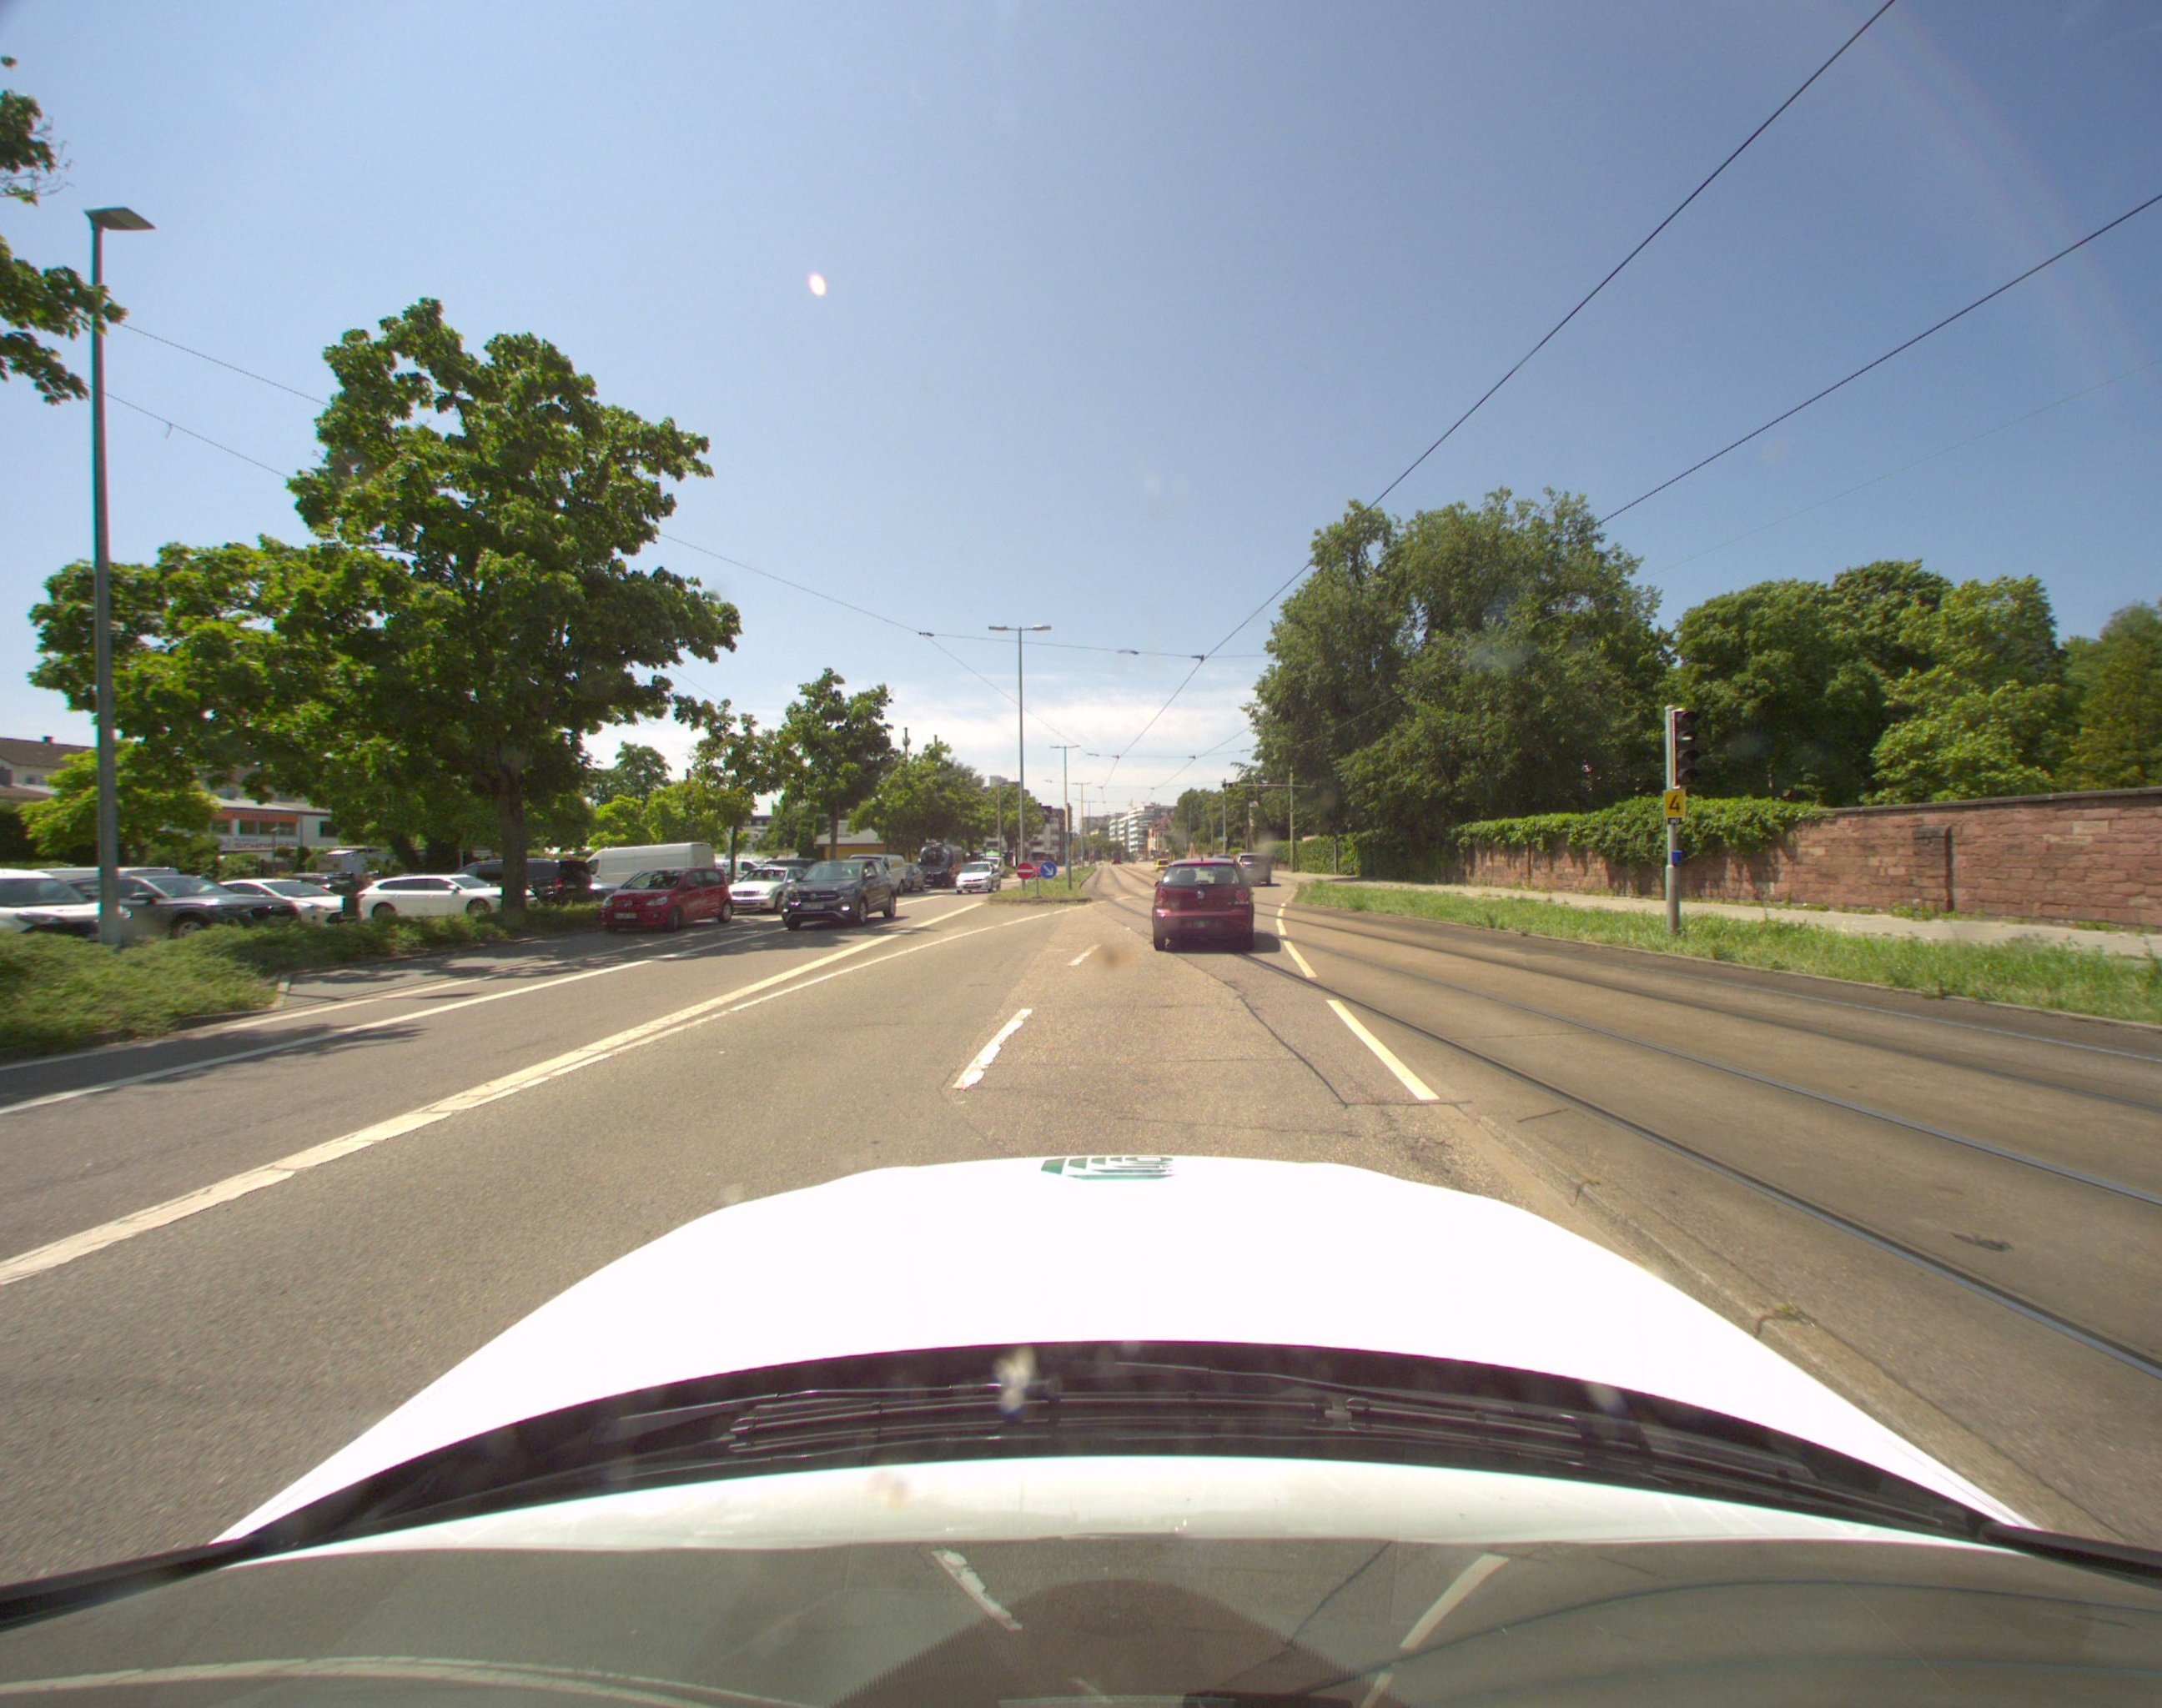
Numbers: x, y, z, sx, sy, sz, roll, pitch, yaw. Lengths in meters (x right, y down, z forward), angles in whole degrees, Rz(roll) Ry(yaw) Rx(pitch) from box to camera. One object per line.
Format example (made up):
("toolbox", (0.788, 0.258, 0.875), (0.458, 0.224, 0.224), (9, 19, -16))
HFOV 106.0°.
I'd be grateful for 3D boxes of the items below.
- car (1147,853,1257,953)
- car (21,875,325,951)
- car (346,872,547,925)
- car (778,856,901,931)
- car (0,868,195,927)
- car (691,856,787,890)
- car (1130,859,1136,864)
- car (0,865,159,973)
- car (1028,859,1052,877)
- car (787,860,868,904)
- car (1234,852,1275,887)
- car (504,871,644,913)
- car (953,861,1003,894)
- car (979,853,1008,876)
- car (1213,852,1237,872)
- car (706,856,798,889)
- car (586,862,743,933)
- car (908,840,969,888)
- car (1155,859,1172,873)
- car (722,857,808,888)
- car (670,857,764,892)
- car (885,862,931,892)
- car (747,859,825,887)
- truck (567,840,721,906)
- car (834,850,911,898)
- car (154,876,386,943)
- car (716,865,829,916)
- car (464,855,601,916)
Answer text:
("car", (2.257, 0.762, 14.390), (1.599, 1.498, 4.013), (-2, -1, 12))
("car", (-19.787, 1.246, 17.934), (4.186, 1.403, 2.079), (-1, 0, -3))
("car", (-20.108, 1.384, 25.969), (4.746, 1.488, 2.058), (-1, 0, 0))
("car", (-5.689, 0.866, 19.663), (1.731, 1.575, 3.714), (-2, 0, 1))
("car", (-32.348, 1.411, 26.842), (4.113, 1.820, 1.971), (0, -1, 0))
("car", (-19.721, 1.092, 47.080), (4.703, 1.813, 1.796), (-1, 0, 0))
("car", (12.383, 1.839, 193.661), (1.348, 1.252, 2.973), (0, 0, 2))
("car", (-20.112, 1.186, 15.111), (4.248, 1.835, 1.675), (-1, 0, 3))
("car", (-3.397, 1.167, 67.806), (1.651, 1.410, 3.607), (-2, -1, 1))
("car", (-9.608, 1.026, 31.120), (1.607, 1.484, 3.788), (2, 0, 4))
("car", (8.832, 0.765, 41.274), (1.782, 1.683, 4.016), (0, 0, 15))
("car", (-19.402, 1.443, 31.294), (4.196, 1.411, 1.856), (-1, 0, 0))
("car", (-4.689, 1.059, 37.526), (1.642, 1.376, 3.812), (-3, -1, 2))
("car", (-7.874, 0.963, 73.586), (1.868, 1.965, 5.166), (-1, 0, 2))
("car", (11.925, 0.655, 67.513), (1.764, 1.630, 4.008), (0, 0, 7))
("car", (-19.792, 1.108, 49.112), (4.703, 1.813, 1.796), (-1, 0, 0))
("car", (-9.894, 0.967, 19.702), (1.664, 1.546, 3.730), (0, -1, 4))
("car", (-8.668, 0.607, 50.312), (2.389, 2.656, 6.175), (2, 0, 2))
("car", (9.824, 1.426, 97.618), (1.788, 1.683, 4.002), (0, 0, 2))
("car", (-20.075, 1.151, 51.847), (4.703, 1.813, 1.796), (-1, 0, 0))
("car", (-19.818, 1.110, 44.466), (4.196, 1.765, 1.856), (-1, 0, 0))
("car", (-8.977, 1.168, 42.430), (1.400, 1.440, 3.841), (2, 0, 2))
("car", (-20.219, 1.295, 55.935), (4.701, 1.813, 1.797), (-1, 0, 1))
("truck", (-19.609, 0.847, 36.744), (5.556, 2.759, 2.433), (-1, 0, 2))
("car", (-9.256, 0.871, 36.616), (1.854, 1.937, 4.810), (2, 0, 4))
("car", (-20.669, 1.381, 20.881), (4.104, 1.508, 1.934), (-1, 0, 3))
("car", (-9.813, 1.111, 26.331), (1.712, 1.427, 4.772), (0, 0, 2))
("car", (-19.133, 1.044, 28.672), (1.844, 1.995, 4.224), (0, -1, 1))
